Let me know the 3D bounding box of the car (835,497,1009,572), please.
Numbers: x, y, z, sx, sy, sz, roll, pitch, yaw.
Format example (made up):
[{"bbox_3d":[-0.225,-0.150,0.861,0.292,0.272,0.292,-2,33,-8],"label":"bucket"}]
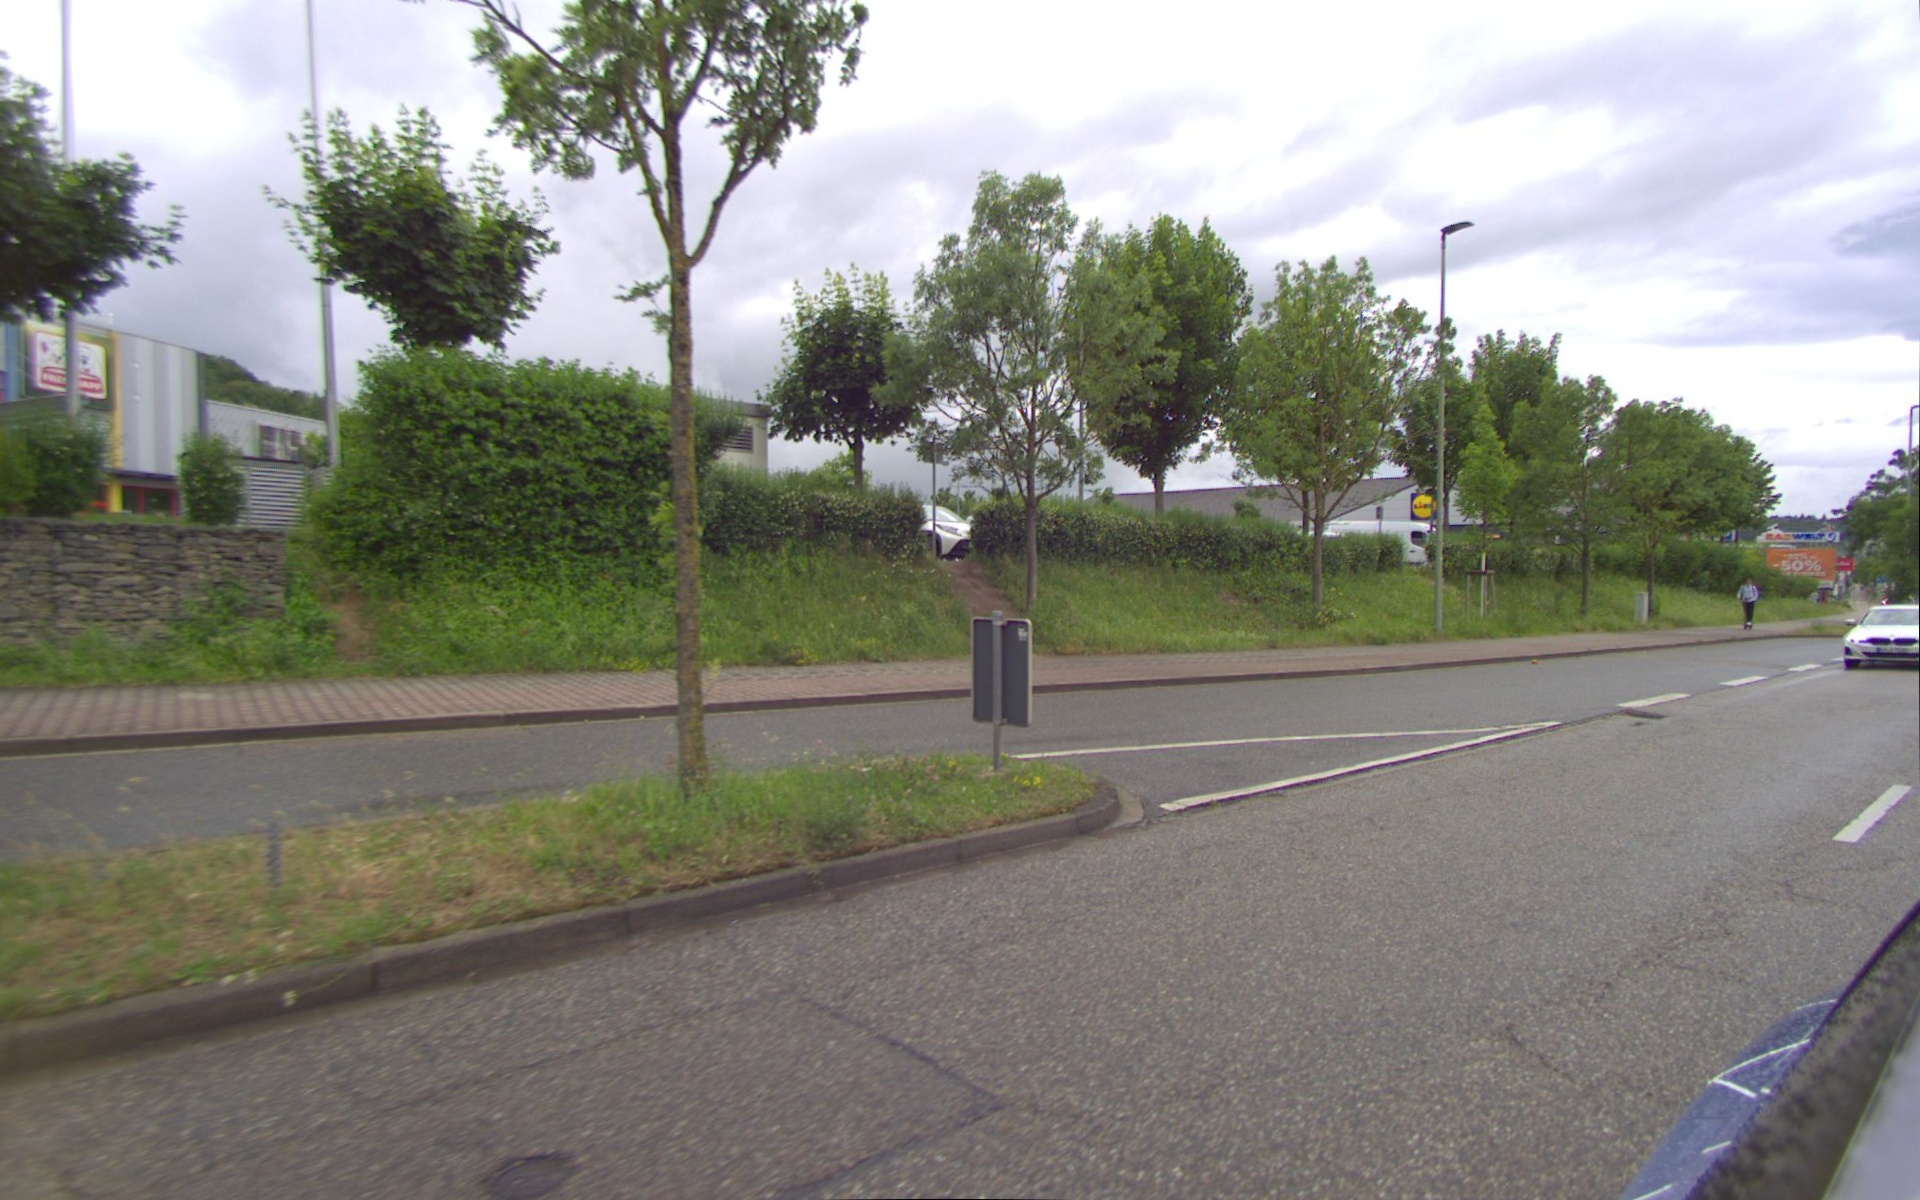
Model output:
[{"bbox_3d":[-1.036,-1.652,25.174,1.896,1.648,4.355,-1,5,-43],"label":"car"}]

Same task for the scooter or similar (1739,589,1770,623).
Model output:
[{"bbox_3d":[31.756,0.219,40.453,1.377,1.279,0.696,-1,4,-42],"label":"scooter or similar"}]

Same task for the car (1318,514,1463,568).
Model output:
[{"bbox_3d":[19.568,-2.724,46.187,5.608,2.167,2.090,6,5,42],"label":"car"}]

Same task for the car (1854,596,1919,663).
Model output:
[{"bbox_3d":[22.672,0.643,23.827,4.461,1.459,1.807,0,0,-40],"label":"car"}]

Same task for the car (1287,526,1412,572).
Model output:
[{"bbox_3d":[15.986,-2.131,41.707,4.350,1.648,1.898,6,5,44],"label":"car"}]

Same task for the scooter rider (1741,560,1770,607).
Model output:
[{"bbox_3d":[31.727,-0.655,40.368,0.843,1.842,0.696,-1,3,-42],"label":"scooter rider"}]

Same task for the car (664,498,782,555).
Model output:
[{"bbox_3d":[-7.892,-2.461,33.519,1.923,1.699,4.155,-1,5,-44],"label":"car"}]
